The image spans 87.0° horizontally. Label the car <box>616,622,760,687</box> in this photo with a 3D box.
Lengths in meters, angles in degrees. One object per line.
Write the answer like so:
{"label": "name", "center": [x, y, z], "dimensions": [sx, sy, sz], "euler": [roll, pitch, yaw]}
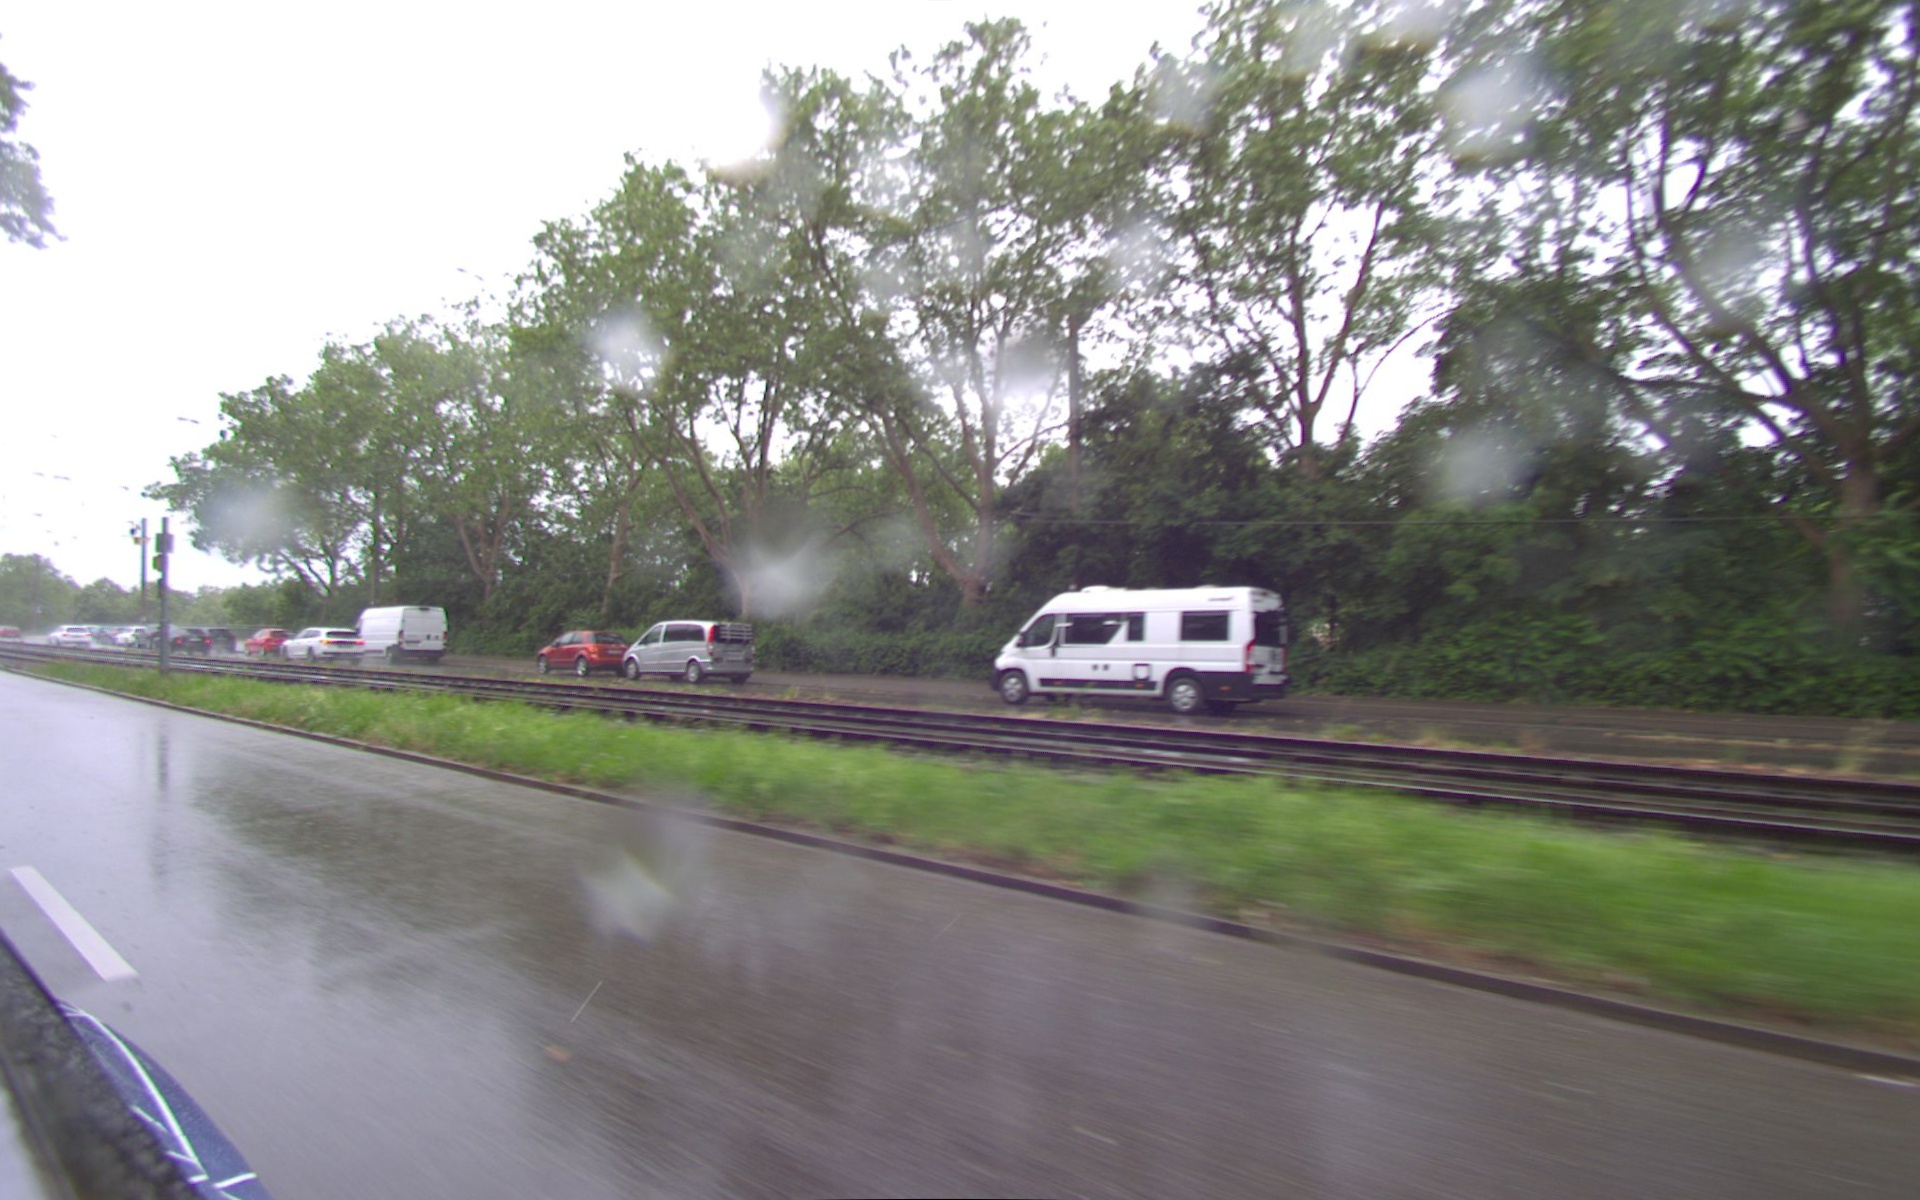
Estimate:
{"label": "car", "center": [-8.475, 1.647, 31.357], "dimensions": [4.636, 1.876, 1.937], "euler": [-1, -3, 39]}

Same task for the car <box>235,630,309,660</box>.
{"label": "car", "center": [-37.277, 2.429, 54.832], "dimensions": [4.378, 1.564, 2.014], "euler": [-1, -3, 38]}

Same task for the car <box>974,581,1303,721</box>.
{"label": "car", "center": [3.620, 1.023, 21.461], "dimensions": [6.556, 2.560, 2.367], "euler": [-1, -3, 38]}

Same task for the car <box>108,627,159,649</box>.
{"label": "car", "center": [-59.760, 2.752, 73.175], "dimensions": [4.573, 1.522, 1.867], "euler": [-1, -3, 38]}

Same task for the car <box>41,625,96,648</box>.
{"label": "car", "center": [-63.182, 2.564, 71.695], "dimensions": [4.989, 1.564, 2.014], "euler": [-1, -3, 38]}

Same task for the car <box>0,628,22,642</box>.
{"label": "car", "center": [-103.999, 3.797, 110.117], "dimensions": [4.911, 1.478, 2.014], "euler": [-1, -2, 38]}

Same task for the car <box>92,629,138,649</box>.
{"label": "car", "center": [-64.286, 2.940, 76.961], "dimensions": [4.123, 1.442, 1.634], "euler": [-1, -3, 35]}

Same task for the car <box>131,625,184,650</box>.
{"label": "car", "center": [-54.794, 2.542, 69.056], "dimensions": [4.364, 1.663, 1.867], "euler": [-1, -3, 39]}

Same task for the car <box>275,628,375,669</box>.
{"label": "car", "center": [-26.250, 1.987, 41.768], "dimensions": [4.762, 1.579, 1.959], "euler": [-1, -3, 38]}

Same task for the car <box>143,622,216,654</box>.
{"label": "car", "center": [-40.945, 1.980, 53.068], "dimensions": [4.562, 1.564, 2.013], "euler": [-1, -3, 39]}

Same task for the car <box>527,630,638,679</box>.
{"label": "car", "center": [-13.109, 1.854, 35.035], "dimensions": [4.020, 1.564, 1.800], "euler": [-1, -3, 39]}

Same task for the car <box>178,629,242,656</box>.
{"label": "car", "center": [-45.940, 2.590, 61.991], "dimensions": [4.378, 1.564, 2.014], "euler": [-1, -3, 38]}

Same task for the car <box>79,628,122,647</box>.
{"label": "car", "center": [-68.522, 2.992, 80.665], "dimensions": [3.918, 1.442, 1.633], "euler": [-1, -3, 36]}

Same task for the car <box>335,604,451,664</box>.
{"label": "car", "center": [-25.314, 1.497, 45.088], "dimensions": [6.132, 2.465, 2.306], "euler": [-1, -3, 39]}

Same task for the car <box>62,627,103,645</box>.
{"label": "car", "center": [-72.675, 2.994, 83.814], "dimensions": [4.145, 1.442, 1.633], "euler": [-1, -3, 37]}
